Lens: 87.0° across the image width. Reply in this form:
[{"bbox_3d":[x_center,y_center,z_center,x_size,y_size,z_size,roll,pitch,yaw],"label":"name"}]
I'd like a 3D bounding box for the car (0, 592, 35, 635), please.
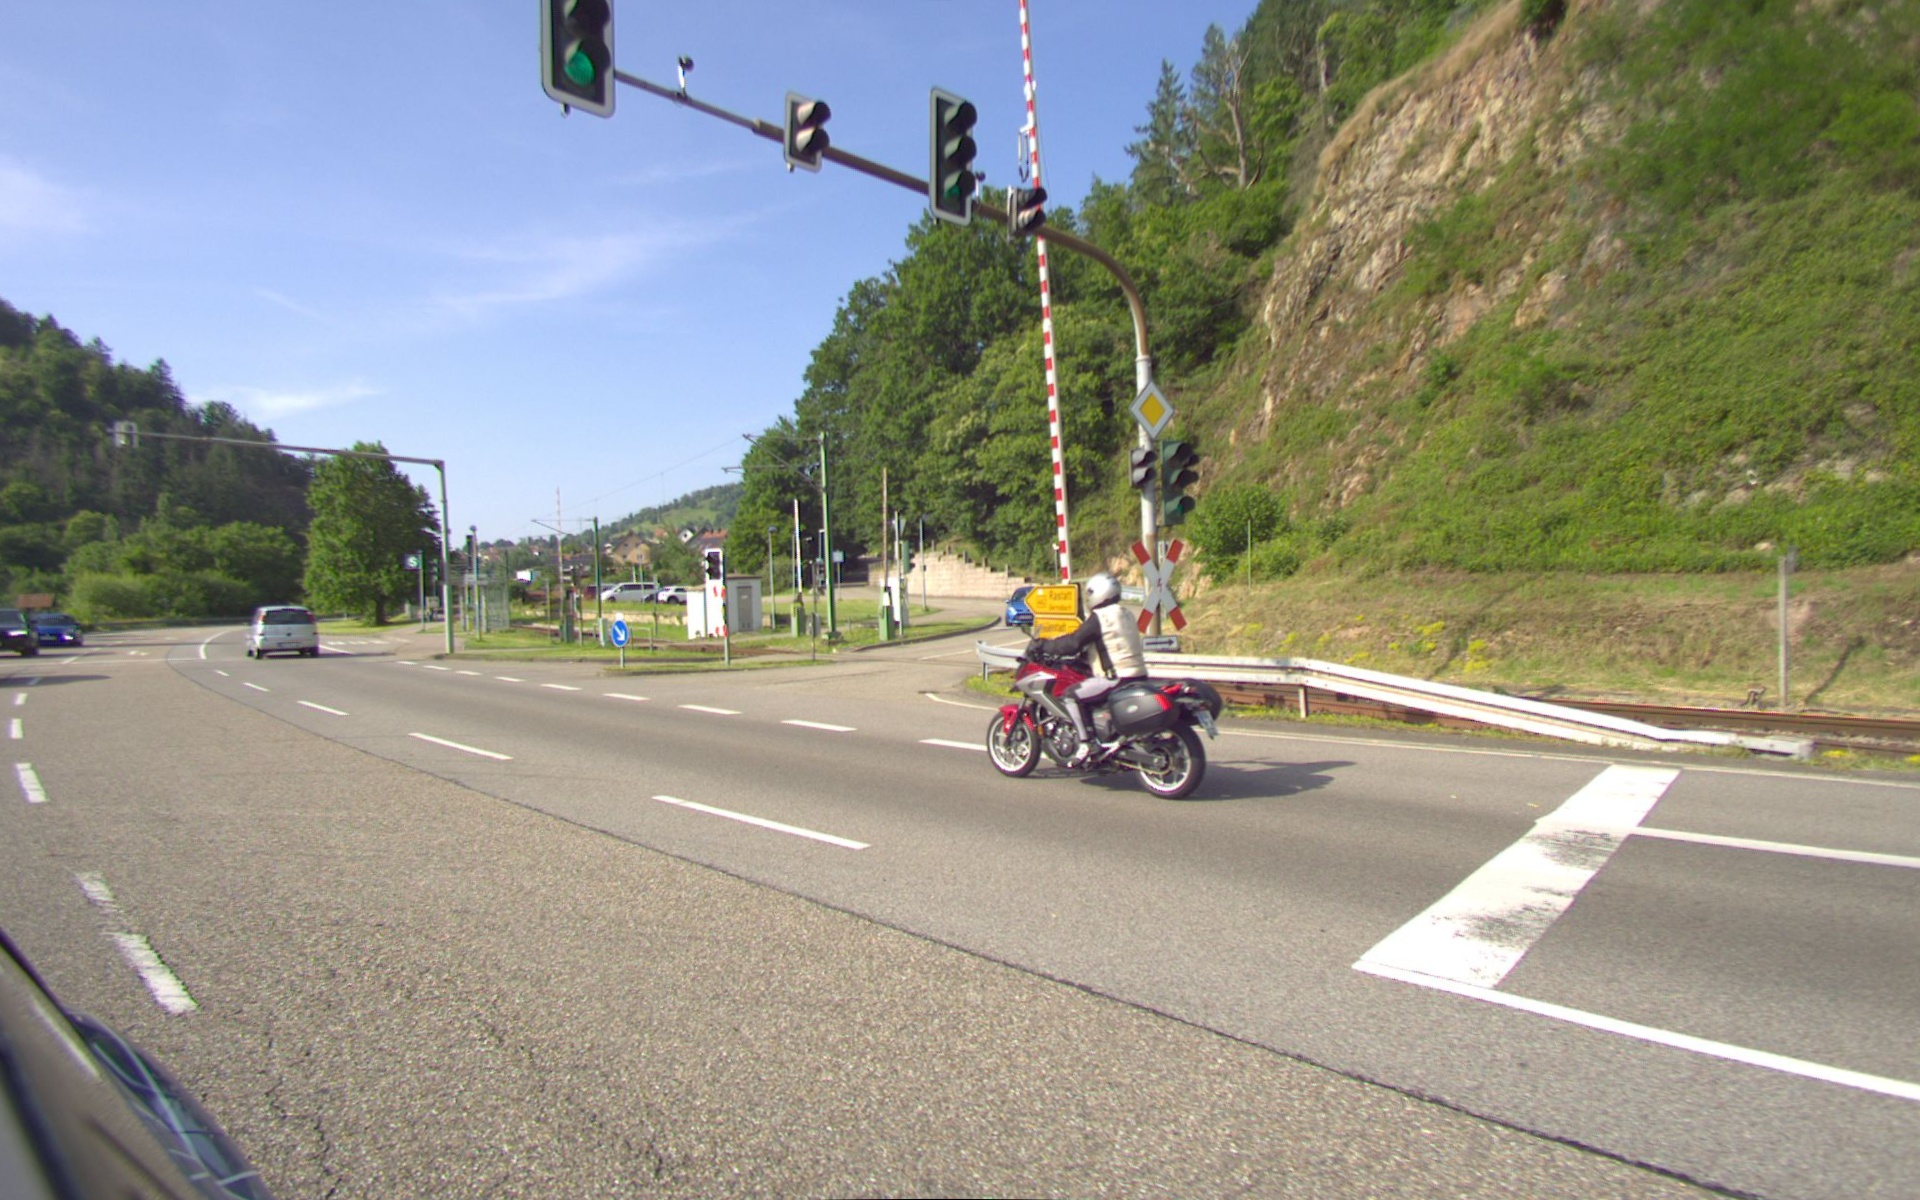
[{"bbox_3d":[-32.188,0.464,33.604,1.968,1.403,4.007,0,-1,-39],"label":"car"}]

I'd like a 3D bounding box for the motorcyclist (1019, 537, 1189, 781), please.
[{"bbox_3d":[1.117,0.422,7.841,0.994,1.728,0.866,0,-1,-44],"label":"motorcyclist"}]

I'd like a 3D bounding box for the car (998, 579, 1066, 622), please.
[{"bbox_3d":[2.894,-0.019,40.103,1.878,1.519,3.979,0,3,17],"label":"car"}]

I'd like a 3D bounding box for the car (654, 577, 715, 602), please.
[{"bbox_3d":[-19.853,-0.746,72.875,3.931,1.763,1.646,0,-1,-29],"label":"car"}]

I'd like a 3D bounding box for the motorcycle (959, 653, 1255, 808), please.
[{"bbox_3d":[1.072,0.935,7.875,2.218,0.961,0.815,-1,-1,44],"label":"motorcycle"}]

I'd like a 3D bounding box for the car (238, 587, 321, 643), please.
[{"bbox_3d":[-21.776,0.435,32.325,1.671,1.669,4.177,-1,0,-41],"label":"car"}]

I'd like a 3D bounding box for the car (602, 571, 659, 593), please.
[{"bbox_3d":[-28.658,-1.560,88.003,4.377,1.817,2.006,0,0,-29],"label":"car"}]

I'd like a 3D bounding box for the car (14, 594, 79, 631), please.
[{"bbox_3d":[-39.414,0.535,43.743,1.839,1.503,4.007,0,-1,-39],"label":"car"}]
